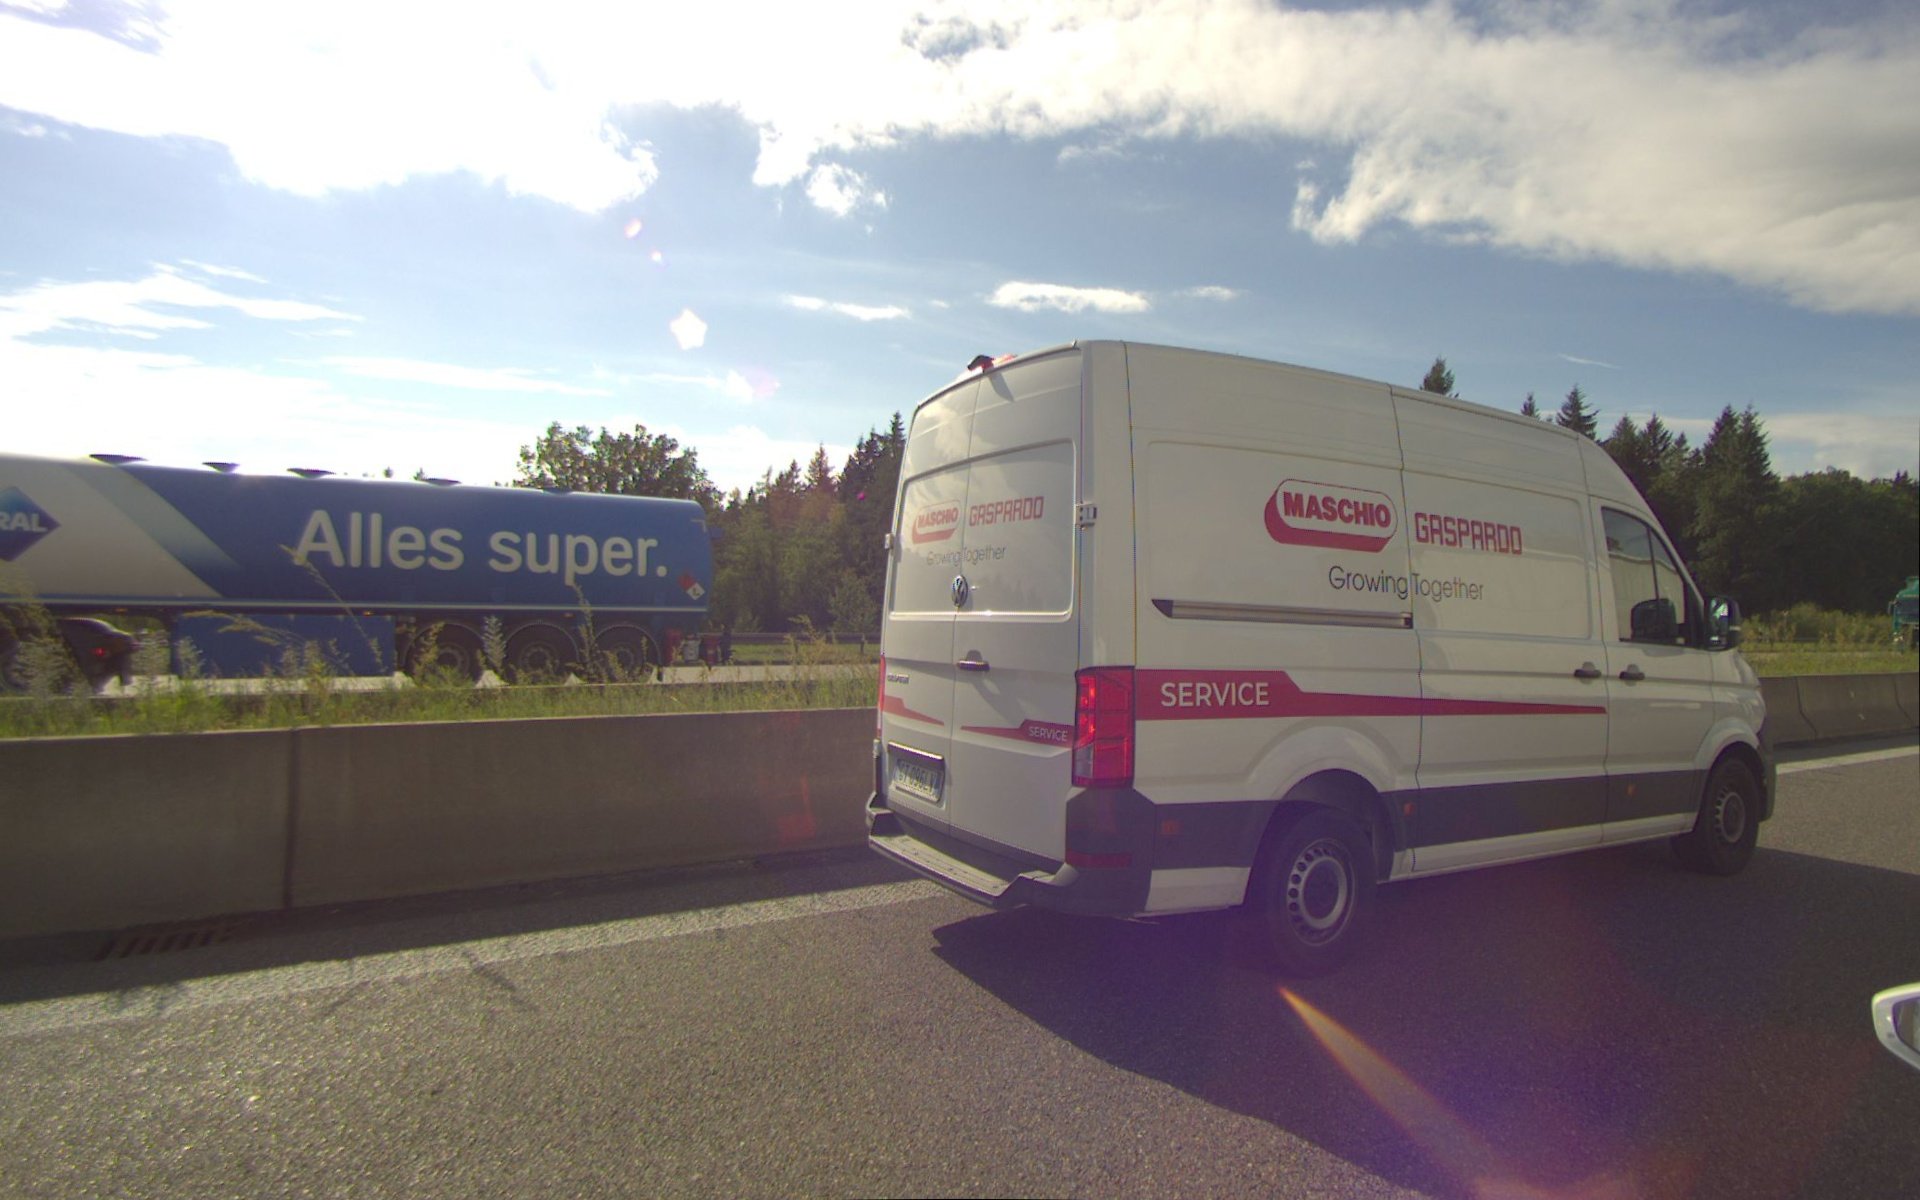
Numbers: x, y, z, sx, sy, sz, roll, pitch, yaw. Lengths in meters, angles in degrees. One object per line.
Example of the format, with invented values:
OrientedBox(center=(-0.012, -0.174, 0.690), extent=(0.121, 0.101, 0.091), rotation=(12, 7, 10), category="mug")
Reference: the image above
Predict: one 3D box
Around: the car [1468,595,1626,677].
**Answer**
OrientedBox(center=(15.295, 0.924, 26.160), extent=(3.953, 1.907, 1.751), rotation=(2, 2, -30), category="car")

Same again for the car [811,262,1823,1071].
OrientedBox(center=(2.387, 0.264, 5.711), extent=(6.110, 2.633, 2.005), rotation=(1, -1, -31), category="car")

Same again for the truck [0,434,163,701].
OrientedBox(center=(-14.005, -0.421, 12.499), extent=(6.036, 3.316, 2.306), rotation=(2, -2, -31), category="truck")

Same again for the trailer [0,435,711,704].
OrientedBox(center=(-9.431, -0.300, 15.308), extent=(10.751, 3.328, 2.309), rotation=(1, 0, -31), category="trailer")

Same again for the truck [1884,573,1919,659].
OrientedBox(center=(52.369, 0.951, 52.934), extent=(10.227, 4.300, 2.697), rotation=(2, -1, -31), category="truck")
